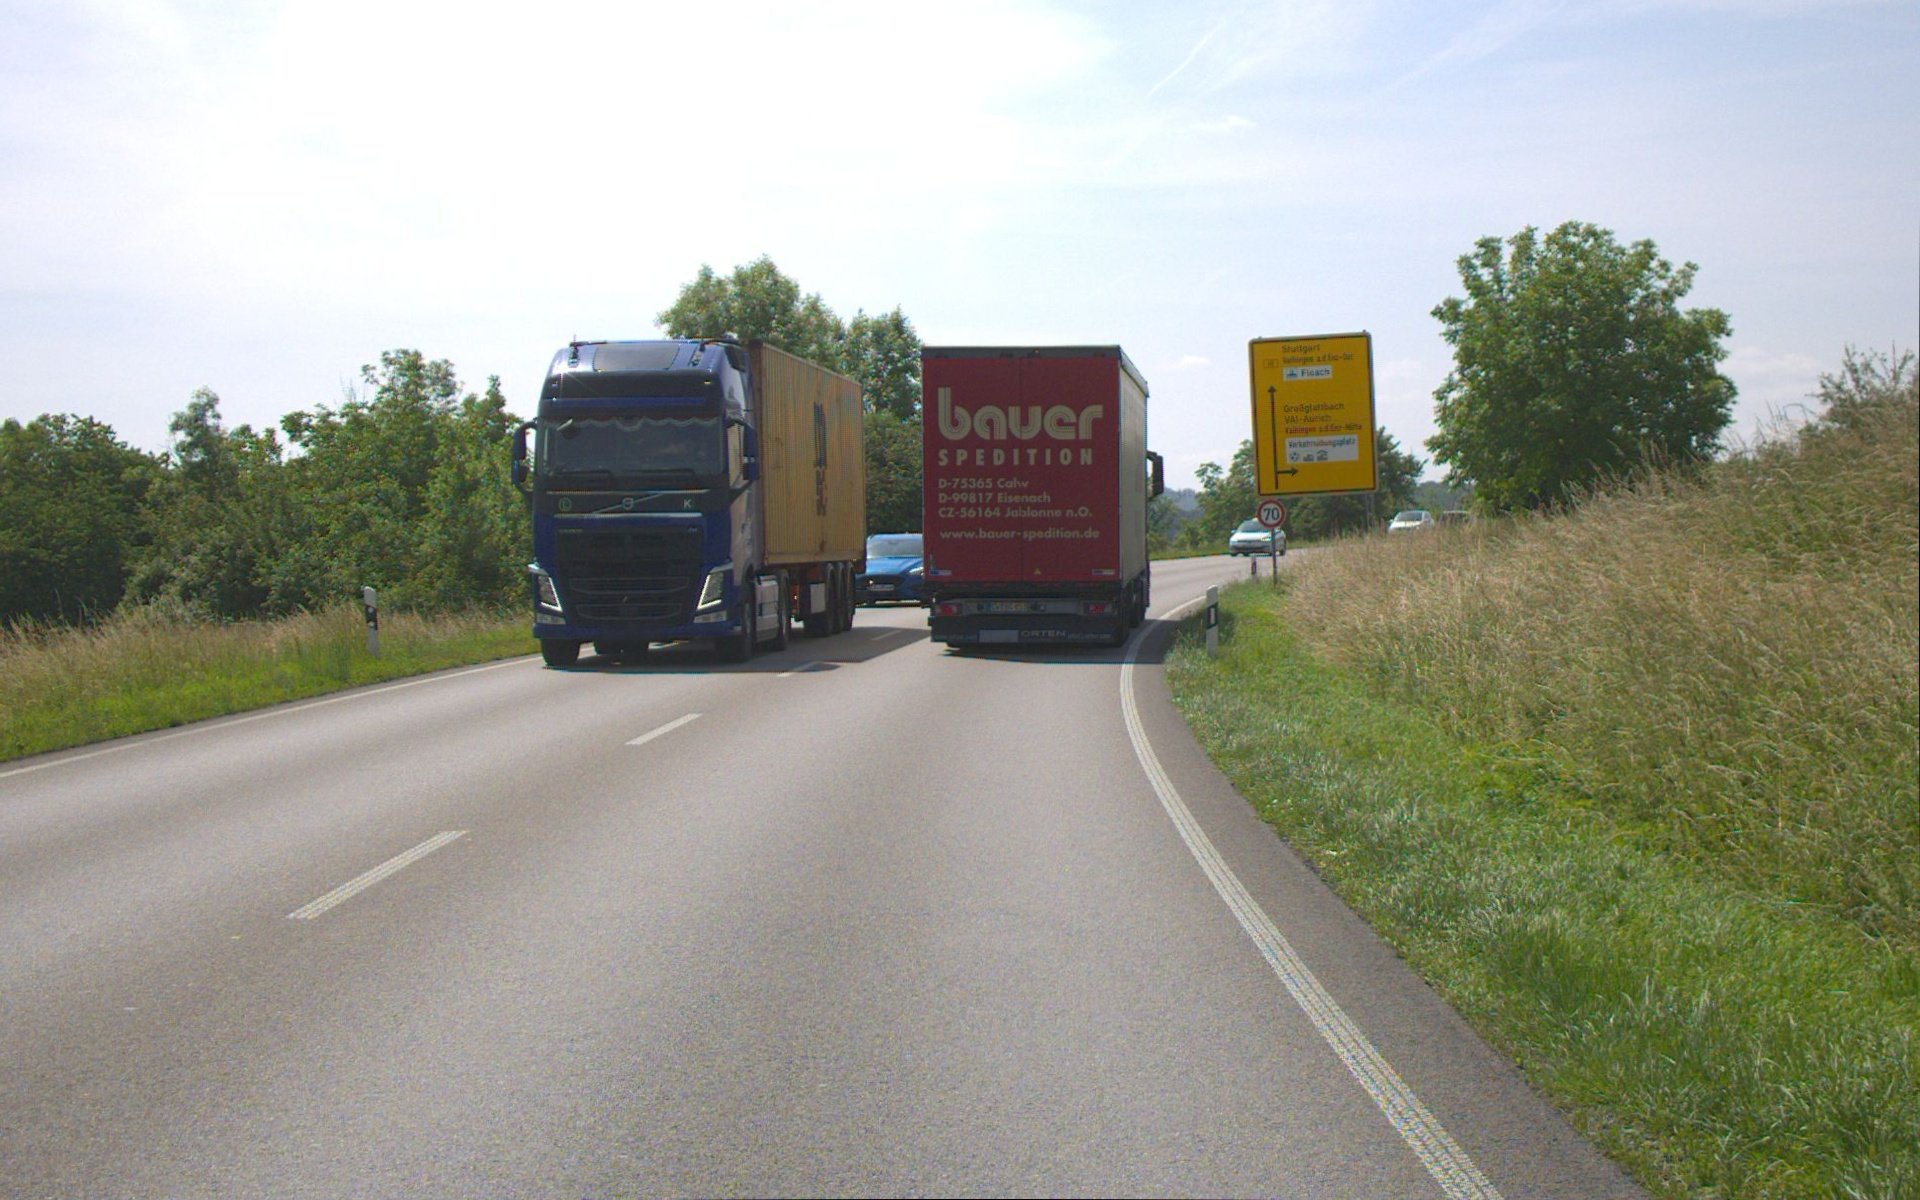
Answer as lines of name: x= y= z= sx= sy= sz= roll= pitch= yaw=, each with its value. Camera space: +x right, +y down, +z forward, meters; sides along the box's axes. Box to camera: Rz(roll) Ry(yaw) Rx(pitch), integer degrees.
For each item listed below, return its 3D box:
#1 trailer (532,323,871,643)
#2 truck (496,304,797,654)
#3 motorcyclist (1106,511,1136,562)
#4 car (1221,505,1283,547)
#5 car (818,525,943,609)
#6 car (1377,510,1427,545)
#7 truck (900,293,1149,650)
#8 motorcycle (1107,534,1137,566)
trailer: x=-3.444 y=-1.662 z=49.986 sx=2.997 sy=4.029 sz=12.916 roll=0 pitch=2 yaw=4
truck: x=-3.812 y=-1.481 z=43.213 sx=2.807 sy=4.053 sz=5.985 roll=-1 pitch=1 yaw=4
motorcyclist: x=5.414 y=-2.140 z=115.543 sx=0.919 sy=1.712 sz=0.962 roll=-1 pitch=1 yaw=9
car: x=11.860 y=-3.017 z=139.533 sx=1.791 sy=1.517 sz=4.158 roll=-4 pitch=1 yaw=14
car: x=-1.589 y=-0.692 z=70.432 sx=1.863 sy=1.480 sz=4.358 roll=-5 pitch=1 yaw=7
car: x=22.574 y=-3.724 z=175.528 sx=1.834 sy=1.611 sz=4.359 roll=-3 pitch=1 yaw=16
truck: x=1.100 y=-1.765 z=49.427 sx=3.112 sy=4.490 sz=12.167 roll=0 pitch=1 yaw=3
motorcycle: x=5.453 y=-1.697 z=115.779 sx=0.757 sy=0.991 sz=2.279 roll=4 pitch=2 yaw=8
